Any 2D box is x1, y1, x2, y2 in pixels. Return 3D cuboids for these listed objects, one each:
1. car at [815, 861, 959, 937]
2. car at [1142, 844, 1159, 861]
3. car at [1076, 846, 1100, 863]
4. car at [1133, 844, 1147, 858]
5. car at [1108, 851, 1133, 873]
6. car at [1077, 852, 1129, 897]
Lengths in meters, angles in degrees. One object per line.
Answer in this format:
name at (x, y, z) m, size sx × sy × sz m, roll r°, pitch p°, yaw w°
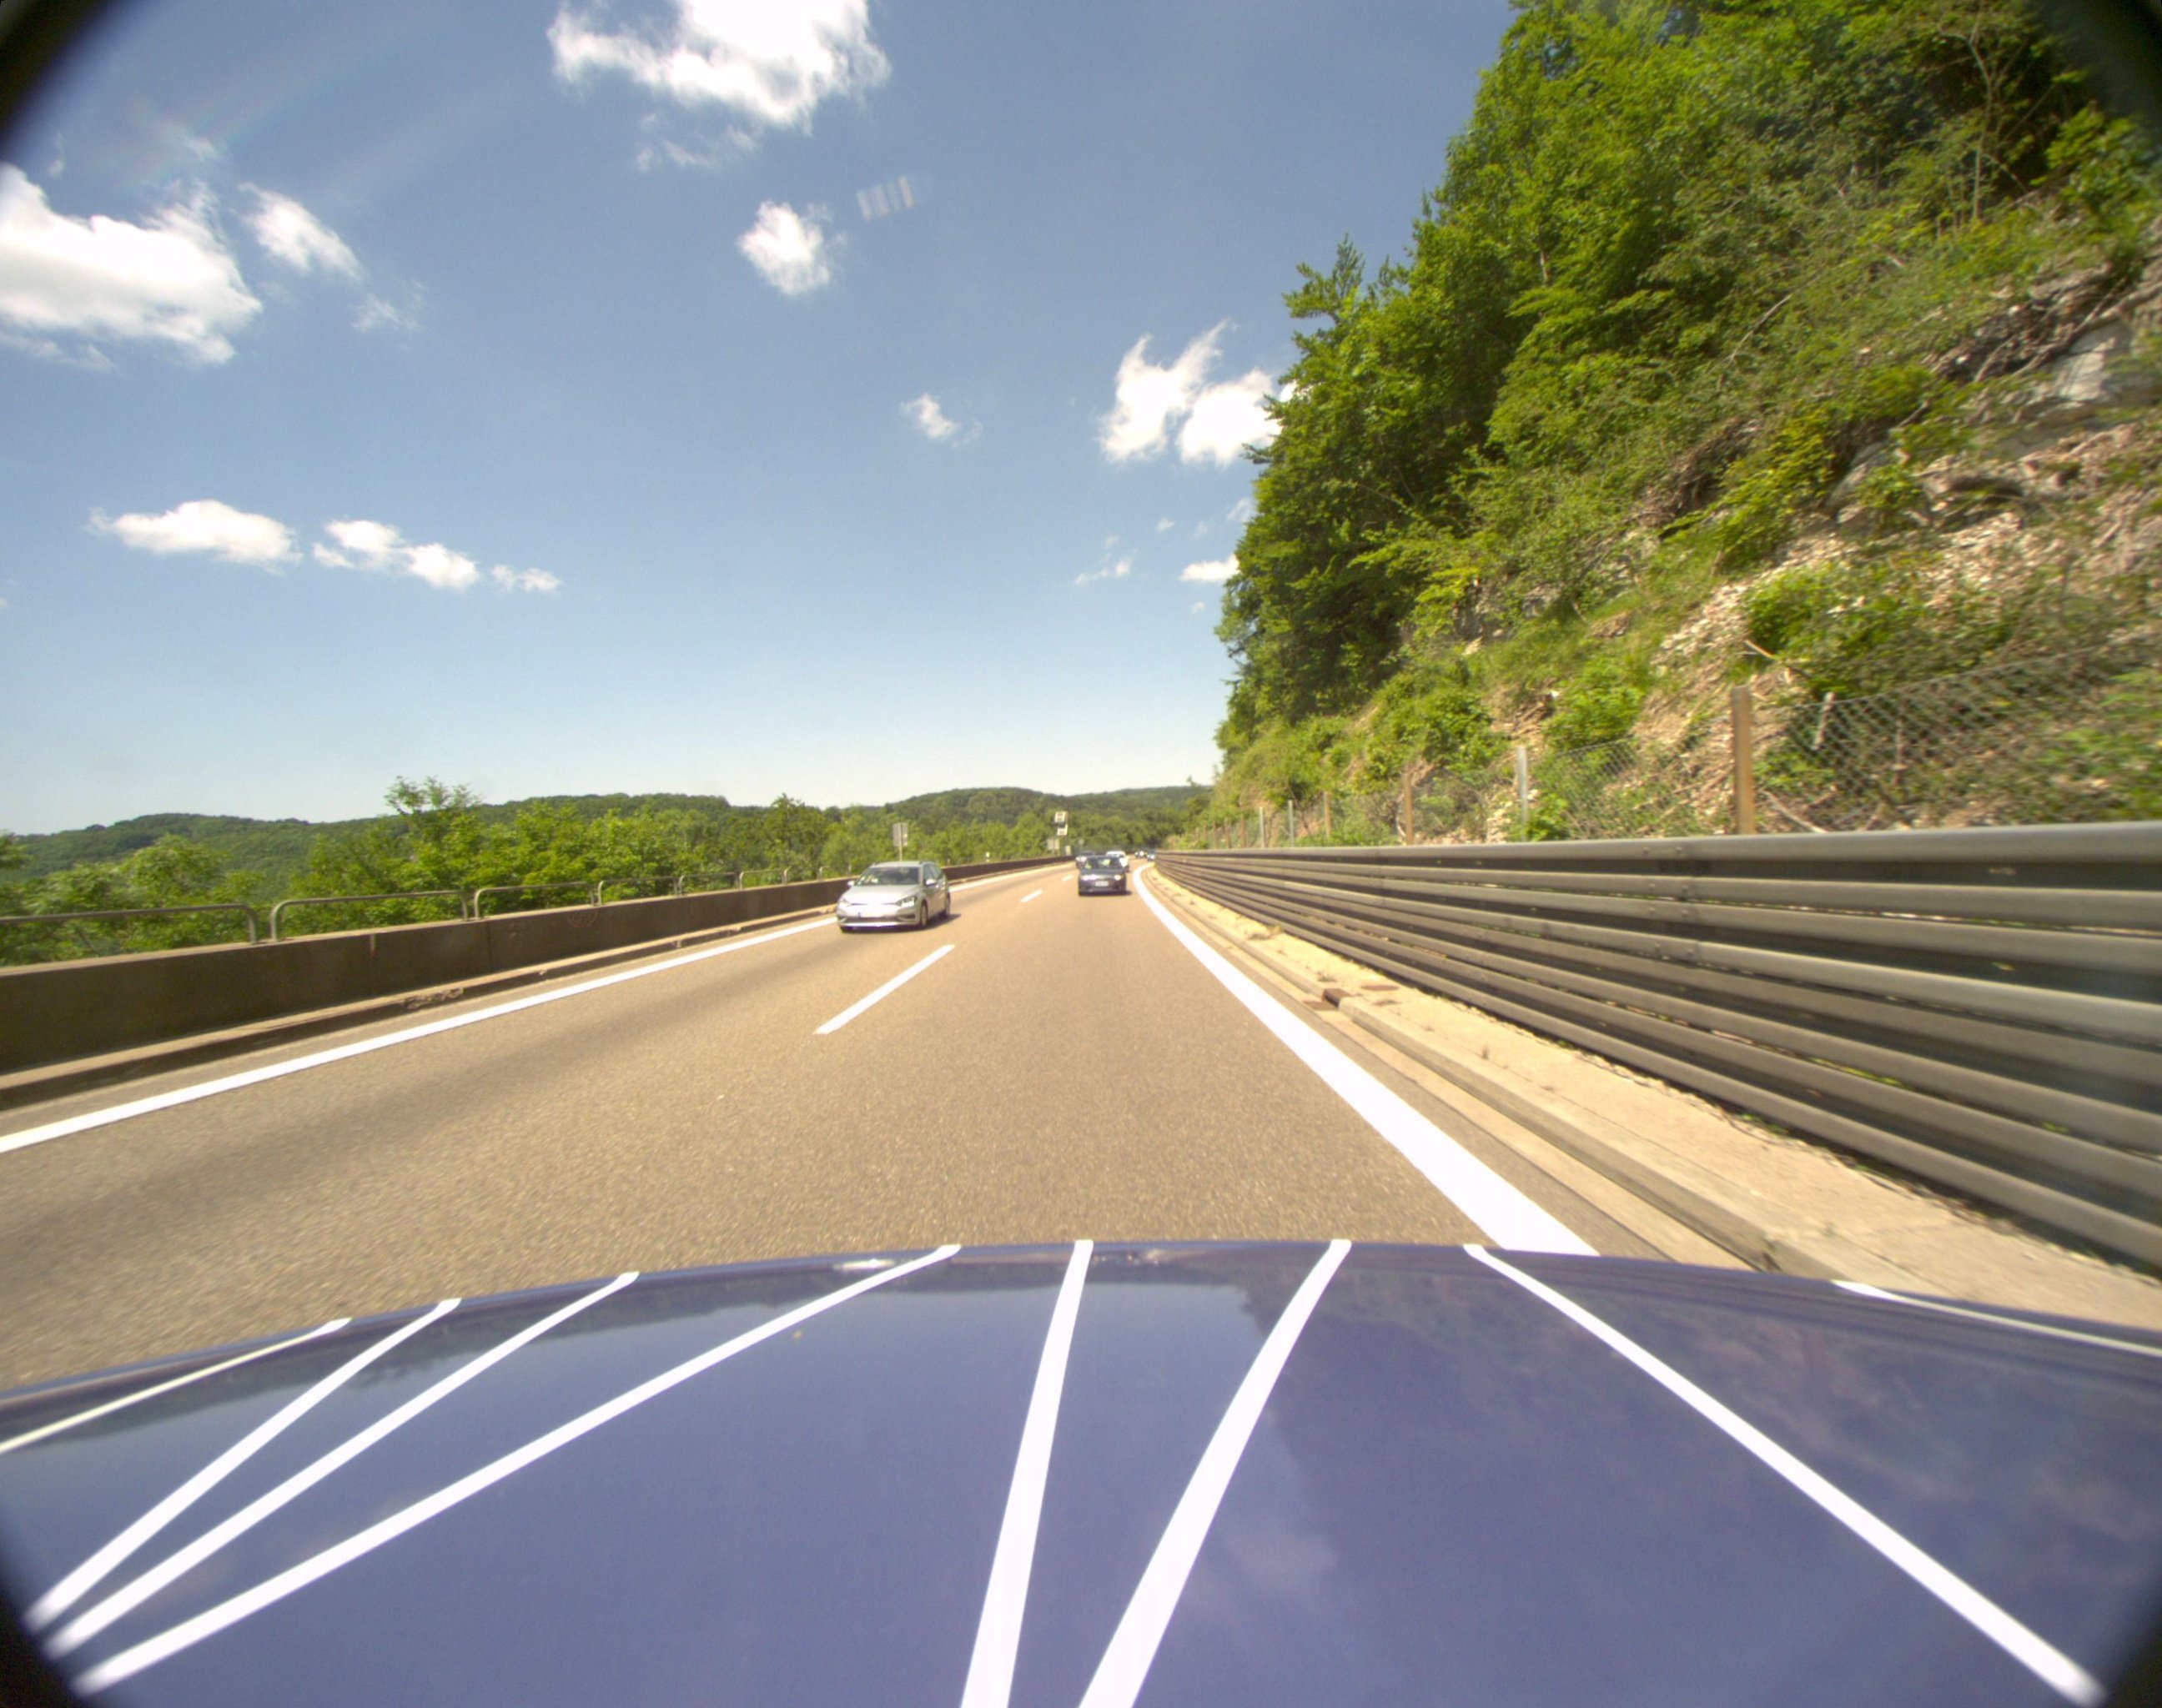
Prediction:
car at (-4.218, 0.923, 17.321) m, size 1.972 × 1.370 × 4.294 m, roll -1°, pitch 1°, yaw 3°
car at (8.858, -0.228, 96.869) m, size 1.997 × 2.002 × 4.002 m, roll -2°, pitch 1°, yaw 7°
car at (0.733, 0.043, 76.468) m, size 1.874 × 1.565 × 4.002 m, roll -2°, pitch 1°, yaw 7°
car at (8.856, -0.463, 113.120) m, size 1.998 × 2.002 × 4.001 m, roll -1°, pitch 1°, yaw 5°
car at (2.815, 0.524, 54.355) m, size 1.703 × 1.432 × 4.044 m, roll -1°, pitch 1°, yaw 3°
car at (0.866, 0.690, 27.818) m, size 1.668 × 1.415 × 4.044 m, roll -1°, pitch 1°, yaw 5°
